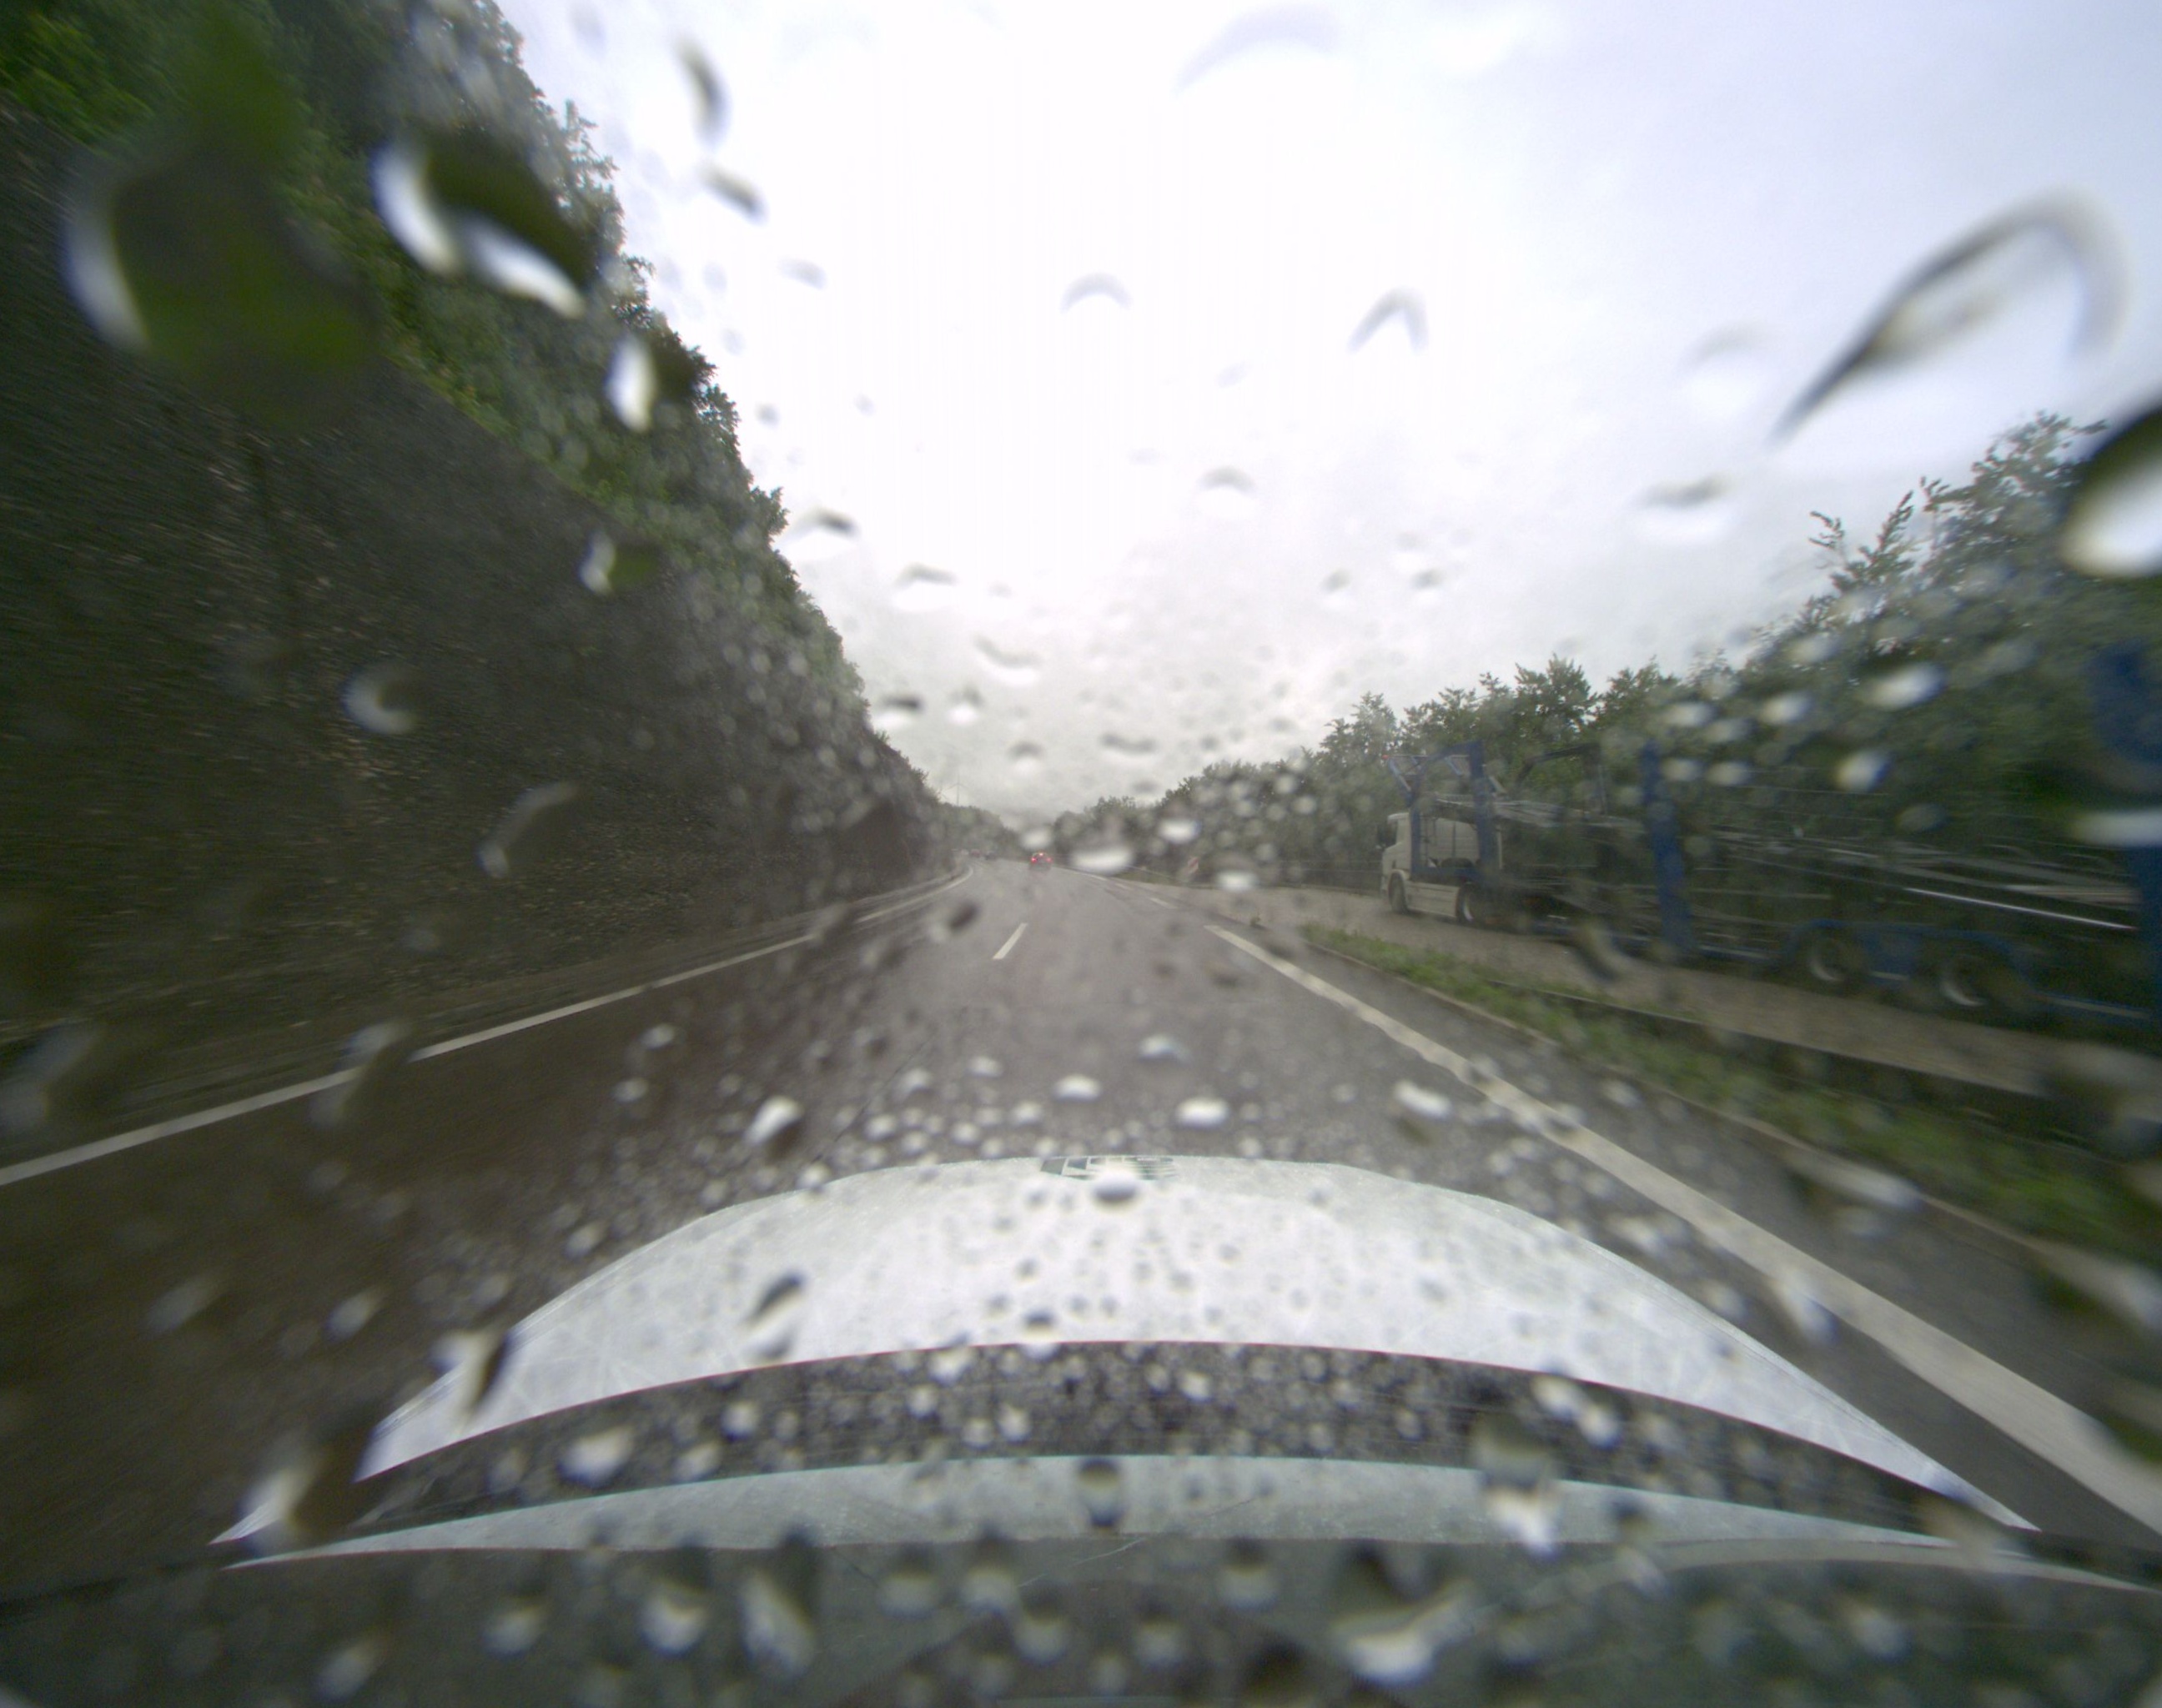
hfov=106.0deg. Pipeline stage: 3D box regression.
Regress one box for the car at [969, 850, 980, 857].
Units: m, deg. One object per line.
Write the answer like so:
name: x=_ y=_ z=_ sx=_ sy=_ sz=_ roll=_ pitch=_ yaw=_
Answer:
car: x=-21.342 y=-0.130 z=163.062 sx=1.905 sy=1.499 sz=3.983 roll=1 pitch=0 yaw=-13

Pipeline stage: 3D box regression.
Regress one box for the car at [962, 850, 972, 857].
car: x=-25.921 y=-0.045 z=184.606 sx=1.905 sy=1.499 sz=3.984 roll=1 pitch=0 yaw=-12

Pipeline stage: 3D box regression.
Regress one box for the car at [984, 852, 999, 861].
car: x=-14.820 y=0.446 z=134.820 sx=1.906 sy=1.499 sz=3.981 roll=1 pitch=0 yaw=-14

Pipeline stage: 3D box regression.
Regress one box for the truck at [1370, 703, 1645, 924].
truck: x=9.458 y=-0.769 z=19.180 sx=2.886 sy=4.245 sz=6.881 roll=-1 pitch=0 yaw=0

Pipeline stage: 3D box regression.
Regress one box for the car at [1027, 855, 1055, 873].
car: x=-3.597 y=0.824 z=71.909 sx=1.905 sy=1.499 sz=3.985 roll=1 pitch=0 yaw=-11

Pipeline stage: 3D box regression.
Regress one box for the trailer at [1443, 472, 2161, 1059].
trailer: x=9.334 y=-0.629 z=10.589 sx=2.882 sy=4.245 sz=14.698 roll=-1 pitch=0 yaw=1
